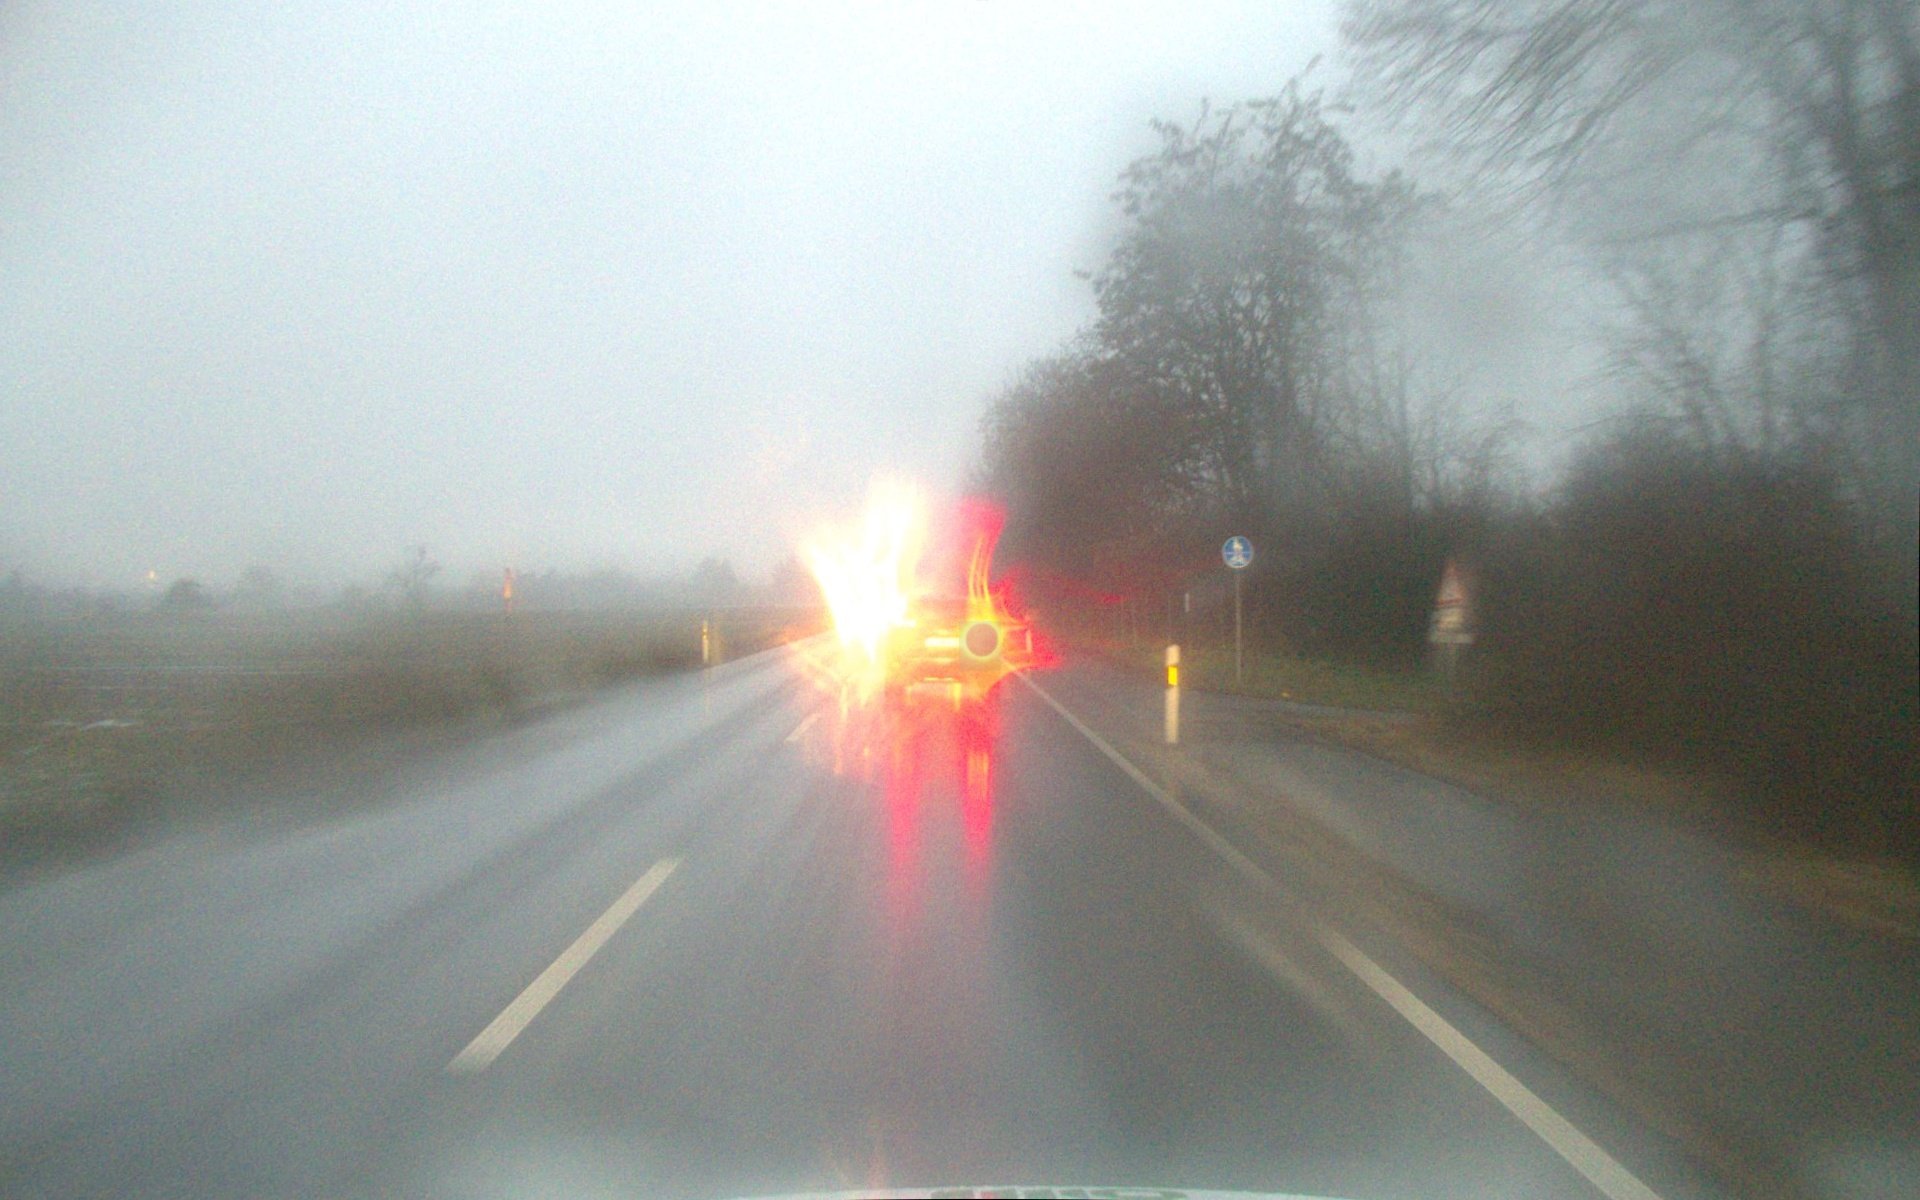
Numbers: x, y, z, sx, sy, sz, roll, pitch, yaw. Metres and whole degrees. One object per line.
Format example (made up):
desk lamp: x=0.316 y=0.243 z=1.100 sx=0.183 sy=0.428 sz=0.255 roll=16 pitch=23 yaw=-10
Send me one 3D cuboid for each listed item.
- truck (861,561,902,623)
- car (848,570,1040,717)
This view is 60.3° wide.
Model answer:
truck: x=-5.432 y=-0.551 z=115.117 sx=2.670 sy=4.177 sz=6.586 roll=-1 pitch=0 yaw=-2
car: x=-0.252 y=0.645 z=26.916 sx=2.763 sy=2.113 sz=5.803 roll=1 pitch=0 yaw=-1
